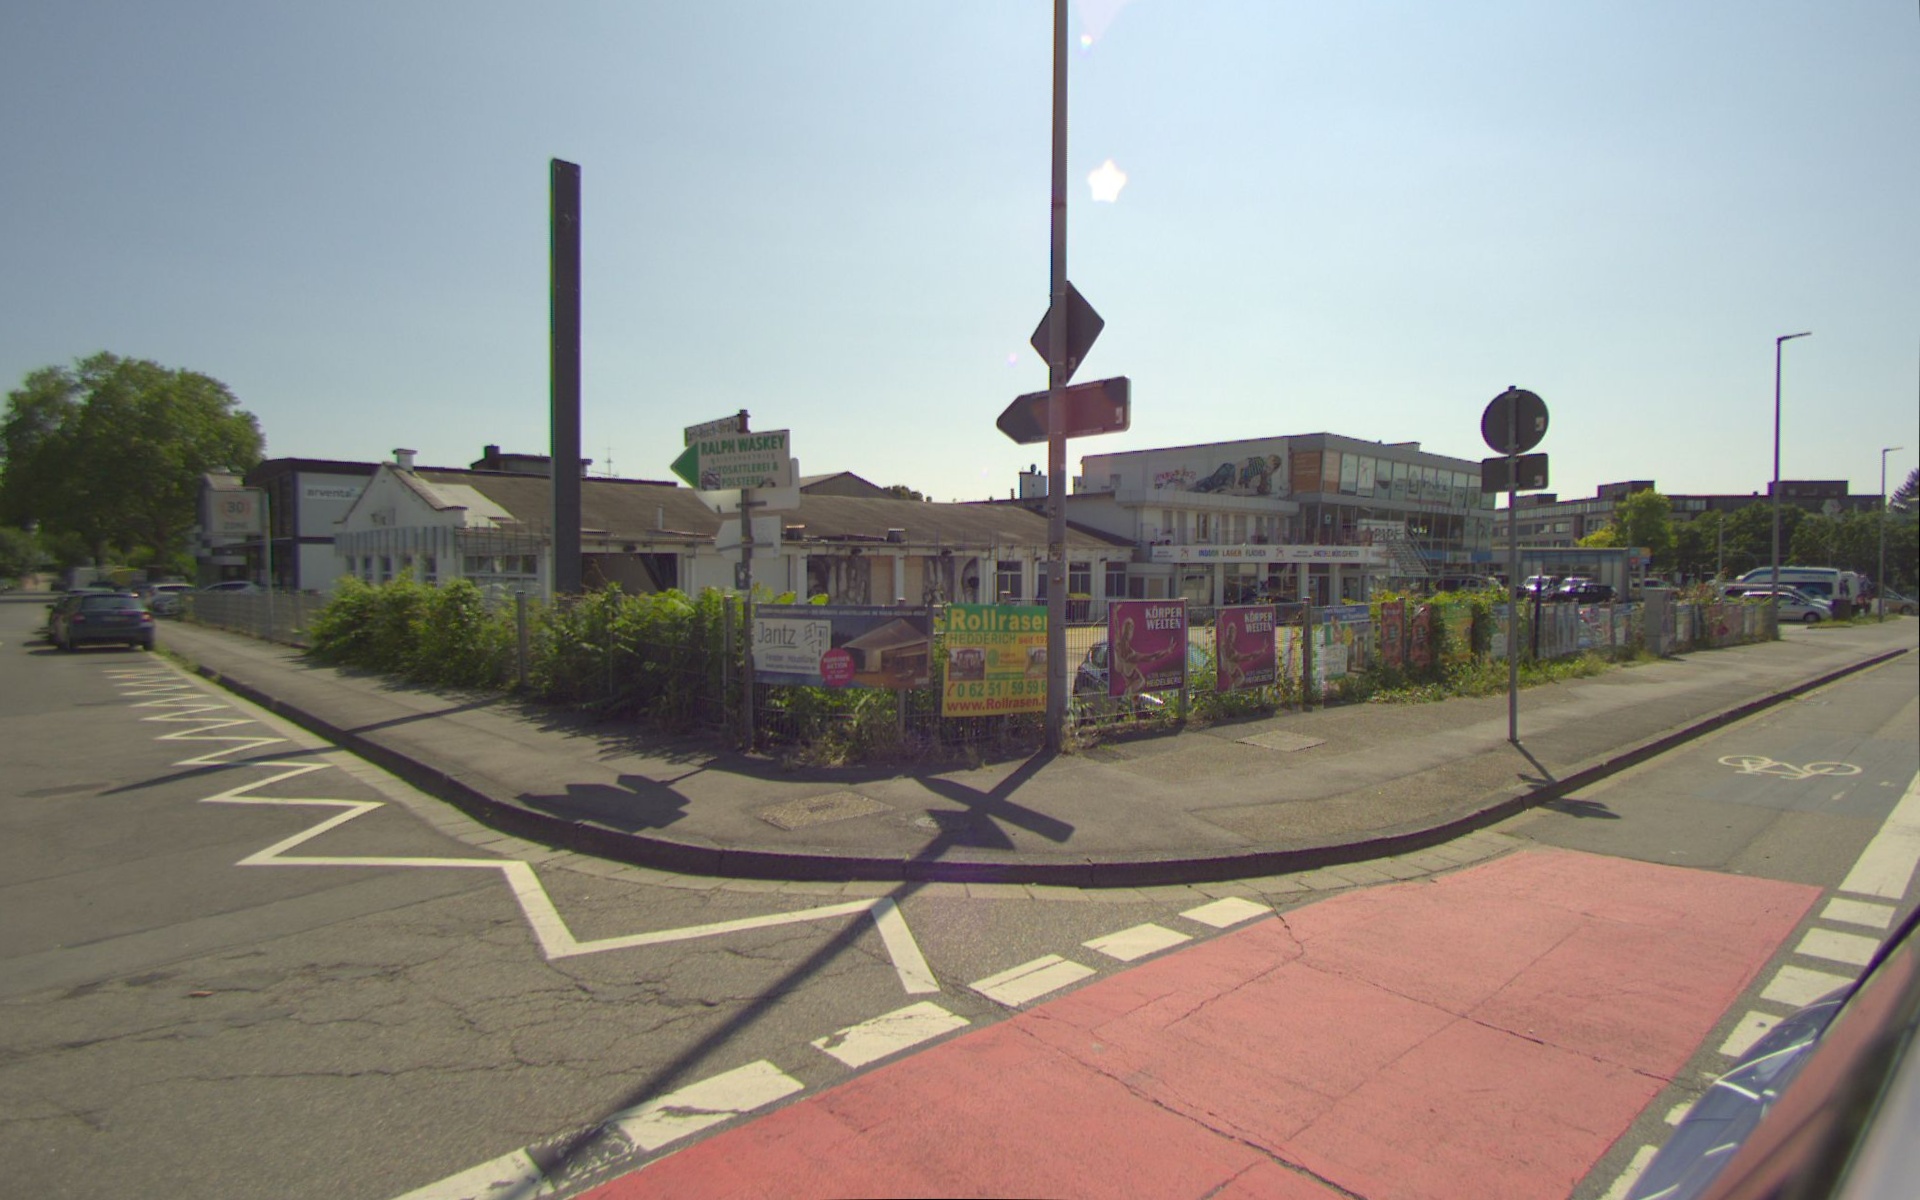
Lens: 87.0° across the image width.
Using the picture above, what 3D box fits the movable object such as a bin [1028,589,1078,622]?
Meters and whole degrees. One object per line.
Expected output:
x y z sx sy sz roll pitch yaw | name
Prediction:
4.287 0.226 46.707 1.570 1.474 1.728 1 1 43 | movable object such as a bin

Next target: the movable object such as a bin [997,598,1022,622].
2.244 0.453 45.532 0.745 1.049 0.863 1 1 43 | movable object such as a bin

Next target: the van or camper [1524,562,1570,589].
46.429 -1.961 80.003 2.116 2.038 5.039 2 2 41 | van or camper

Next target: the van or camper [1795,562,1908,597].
71.148 -1.688 80.902 6.265 2.669 2.525 1 2 12 | van or camper

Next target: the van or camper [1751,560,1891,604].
52.647 -1.138 61.998 2.574 2.555 6.205 -1 2 -42 | van or camper

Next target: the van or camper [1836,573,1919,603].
66.960 -0.846 73.140 5.067 1.985 1.977 2 3 18 | van or camper

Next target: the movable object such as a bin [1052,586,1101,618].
5.518 0.079 48.067 1.570 1.474 1.797 1 1 43 | movable object such as a bin

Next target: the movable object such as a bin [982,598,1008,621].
1.551 0.418 44.848 0.745 1.004 0.863 1 1 43 | movable object such as a bin

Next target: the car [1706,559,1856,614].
45.989 -0.831 56.835 2.280 2.905 6.238 -1 2 -42 | car

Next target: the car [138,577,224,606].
-46.067 -0.524 59.896 3.930 1.670 1.761 0 2 -41 | car

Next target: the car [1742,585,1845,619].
42.976 0.064 52.233 1.768 1.613 3.927 -1 2 -42 | car

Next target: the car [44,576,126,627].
-32.226 0.017 37.236 3.987 1.794 1.968 1 1 44 | car

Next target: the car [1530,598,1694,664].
18.017 0.798 28.191 1.855 1.636 3.835 0 1 -6 | car

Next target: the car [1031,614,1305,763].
2.693 1.066 13.826 1.852 1.621 3.485 0 1 -29 | car

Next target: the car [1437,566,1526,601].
37.543 -1.167 72.962 5.295 2.449 2.290 0 0 43 | car

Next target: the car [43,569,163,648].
-21.857 0.146 25.766 3.988 1.816 1.968 2 2 44 | car

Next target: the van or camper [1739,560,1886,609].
50.612 -0.997 60.227 2.666 2.750 6.358 -1 2 -42 | van or camper

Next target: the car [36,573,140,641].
-25.373 0.175 29.420 3.987 1.816 1.968 0 0 44 | car

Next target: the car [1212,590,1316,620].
14.571 0.236 48.702 4.477 1.306 1.891 -2 0 8 | car

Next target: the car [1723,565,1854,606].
44.620 -0.835 54.599 1.966 1.976 5.242 -1 3 -42 | car

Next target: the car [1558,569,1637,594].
45.841 -1.368 72.831 4.539 1.699 1.968 2 2 44 | car

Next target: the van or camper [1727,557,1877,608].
48.541 -1.073 58.490 2.666 2.733 6.358 -1 2 -42 | van or camper

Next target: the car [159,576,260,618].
-36.819 -0.166 49.667 3.928 1.927 1.762 0 2 -39 | car

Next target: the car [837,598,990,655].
-1.371 0.684 28.493 2.082 1.415 4.336 -1 1 -41 | car

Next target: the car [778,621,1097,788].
-0.431 1.000 11.315 1.576 1.363 3.999 -1 1 -36 | car

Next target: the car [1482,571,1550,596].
42.103 -1.287 76.697 4.106 1.754 1.969 2 2 44 | car
